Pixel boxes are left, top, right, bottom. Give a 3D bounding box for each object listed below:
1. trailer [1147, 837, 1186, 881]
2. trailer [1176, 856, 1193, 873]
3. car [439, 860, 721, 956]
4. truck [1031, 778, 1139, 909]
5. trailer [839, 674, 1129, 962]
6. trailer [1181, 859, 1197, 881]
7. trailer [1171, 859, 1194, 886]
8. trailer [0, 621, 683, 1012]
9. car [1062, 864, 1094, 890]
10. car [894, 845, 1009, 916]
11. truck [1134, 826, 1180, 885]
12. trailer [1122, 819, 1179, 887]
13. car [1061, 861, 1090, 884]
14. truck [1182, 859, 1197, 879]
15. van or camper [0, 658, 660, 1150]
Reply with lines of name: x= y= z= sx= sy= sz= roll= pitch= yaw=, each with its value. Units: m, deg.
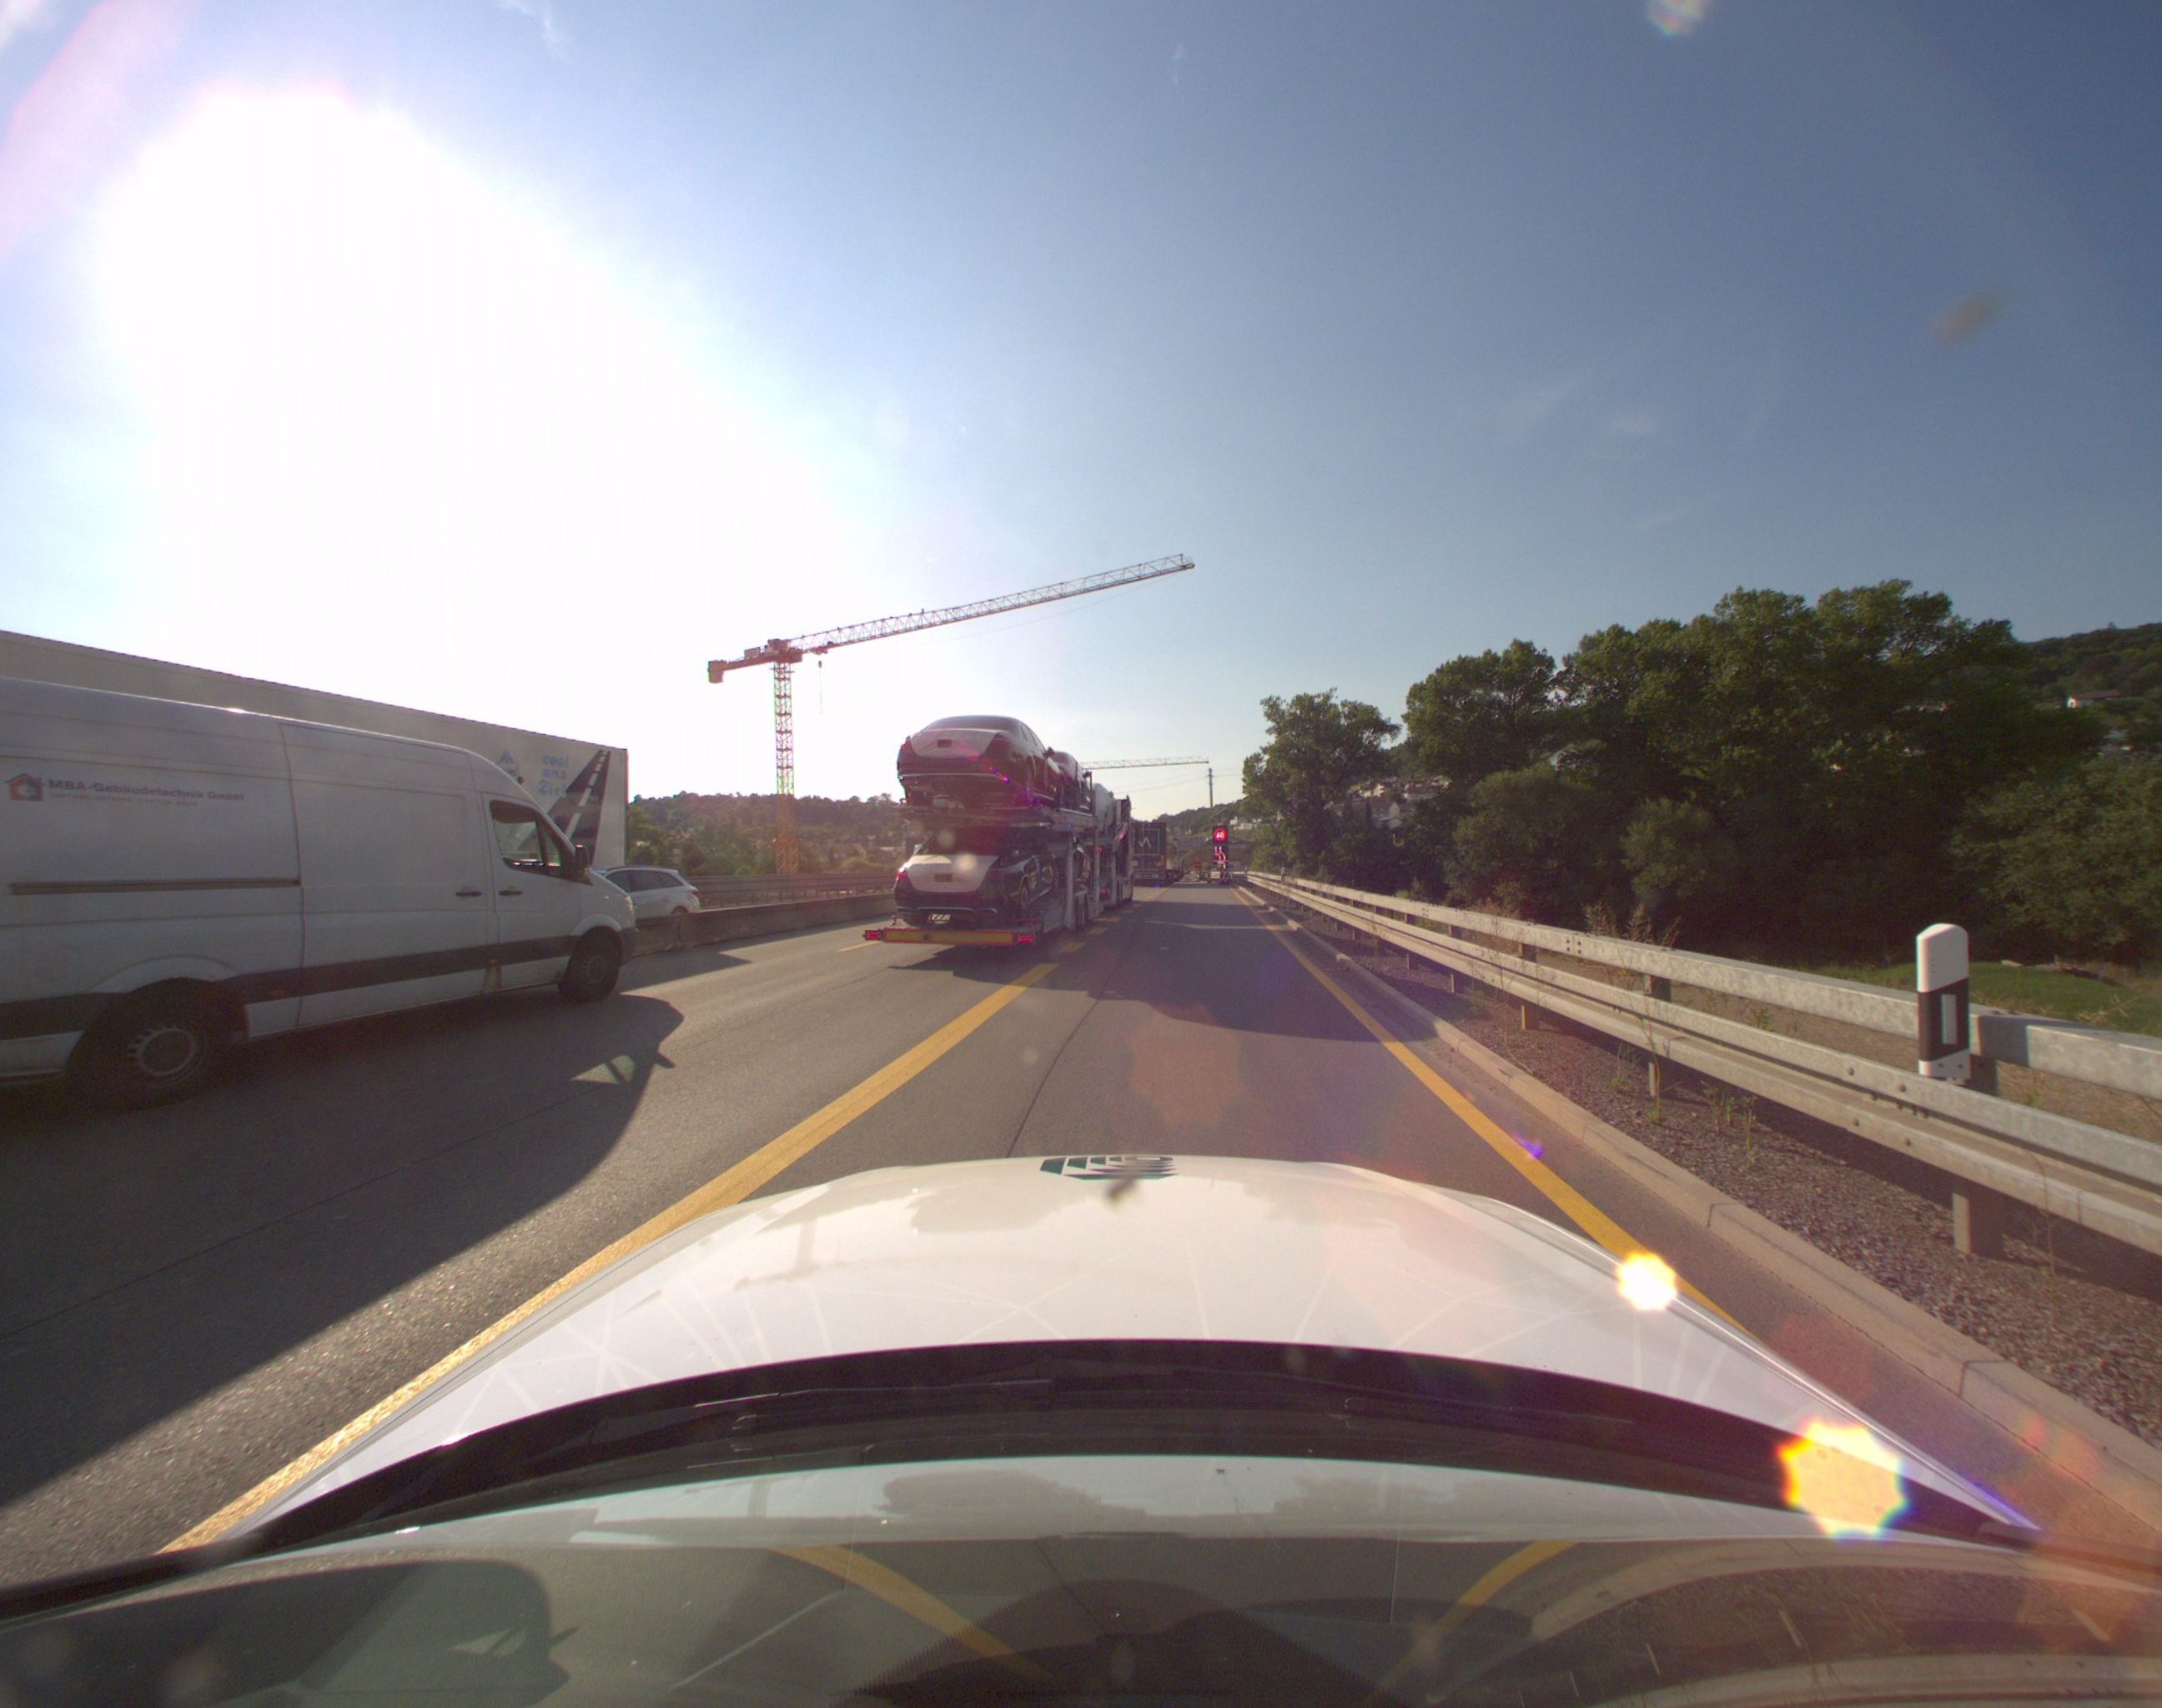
trailer: x=8.884 y=0.551 z=83.304 sx=3.366 sy=3.997 sz=14.776 roll=-2 pitch=-1 yaw=8
trailer: x=27.334 y=2.806 z=214.564 sx=4.074 sy=4.314 sz=14.282 roll=-2 pitch=-1 yaw=8
car: x=-8.535 y=0.850 z=14.470 sx=1.898 sy=1.365 sz=4.460 roll=-3 pitch=-1 yaw=6
truck: x=0.340 y=-0.276 z=28.529 sx=2.832 sy=3.997 sz=6.638 roll=-2 pitch=-1 yaw=8
trailer: x=-0.946 y=-0.391 z=19.347 sx=2.841 sy=3.997 sz=15.779 roll=-2 pitch=-1 yaw=8
trailer: x=22.693 y=3.223 z=170.598 sx=3.086 sy=4.314 sz=14.282 roll=-2 pitch=-1 yaw=8
trailer: x=16.671 y=2.982 z=133.277 sx=3.366 sy=3.997 sz=14.776 roll=-2 pitch=-1 yaw=8
trailer: x=-11.903 y=-0.293 z=12.586 sx=2.612 sy=4.066 sz=14.113 roll=-3 pitch=-1 yaw=9
car: x=-0.157 y=1.638 z=59.587 sx=1.821 sy=1.752 sz=4.006 roll=-3 pitch=-1 yaw=6
car: x=-3.827 y=0.739 z=25.096 sx=2.017 sy=1.981 sz=4.991 roll=0 pitch=0 yaw=9
truck: x=5.701 y=0.154 z=60.348 sx=2.868 sy=3.997 sz=6.641 roll=-2 pitch=-1 yaw=9
trailer: x=4.904 y=0.031 z=55.612 sx=2.941 sy=4.092 sz=10.819 roll=-2 pitch=-1 yaw=9
car: x=-0.411 y=1.453 z=65.237 sx=1.821 sy=1.654 sz=4.006 roll=-3 pitch=-1 yaw=6
truck: x=23.904 y=3.304 z=179.285 sx=3.081 sy=4.286 sz=6.638 roll=-2 pitch=-1 yaw=8
van or camper: x=-6.380 y=0.306 z=6.775 sx=1.982 sy=2.620 sz=5.917 roll=-1 pitch=-1 yaw=9
